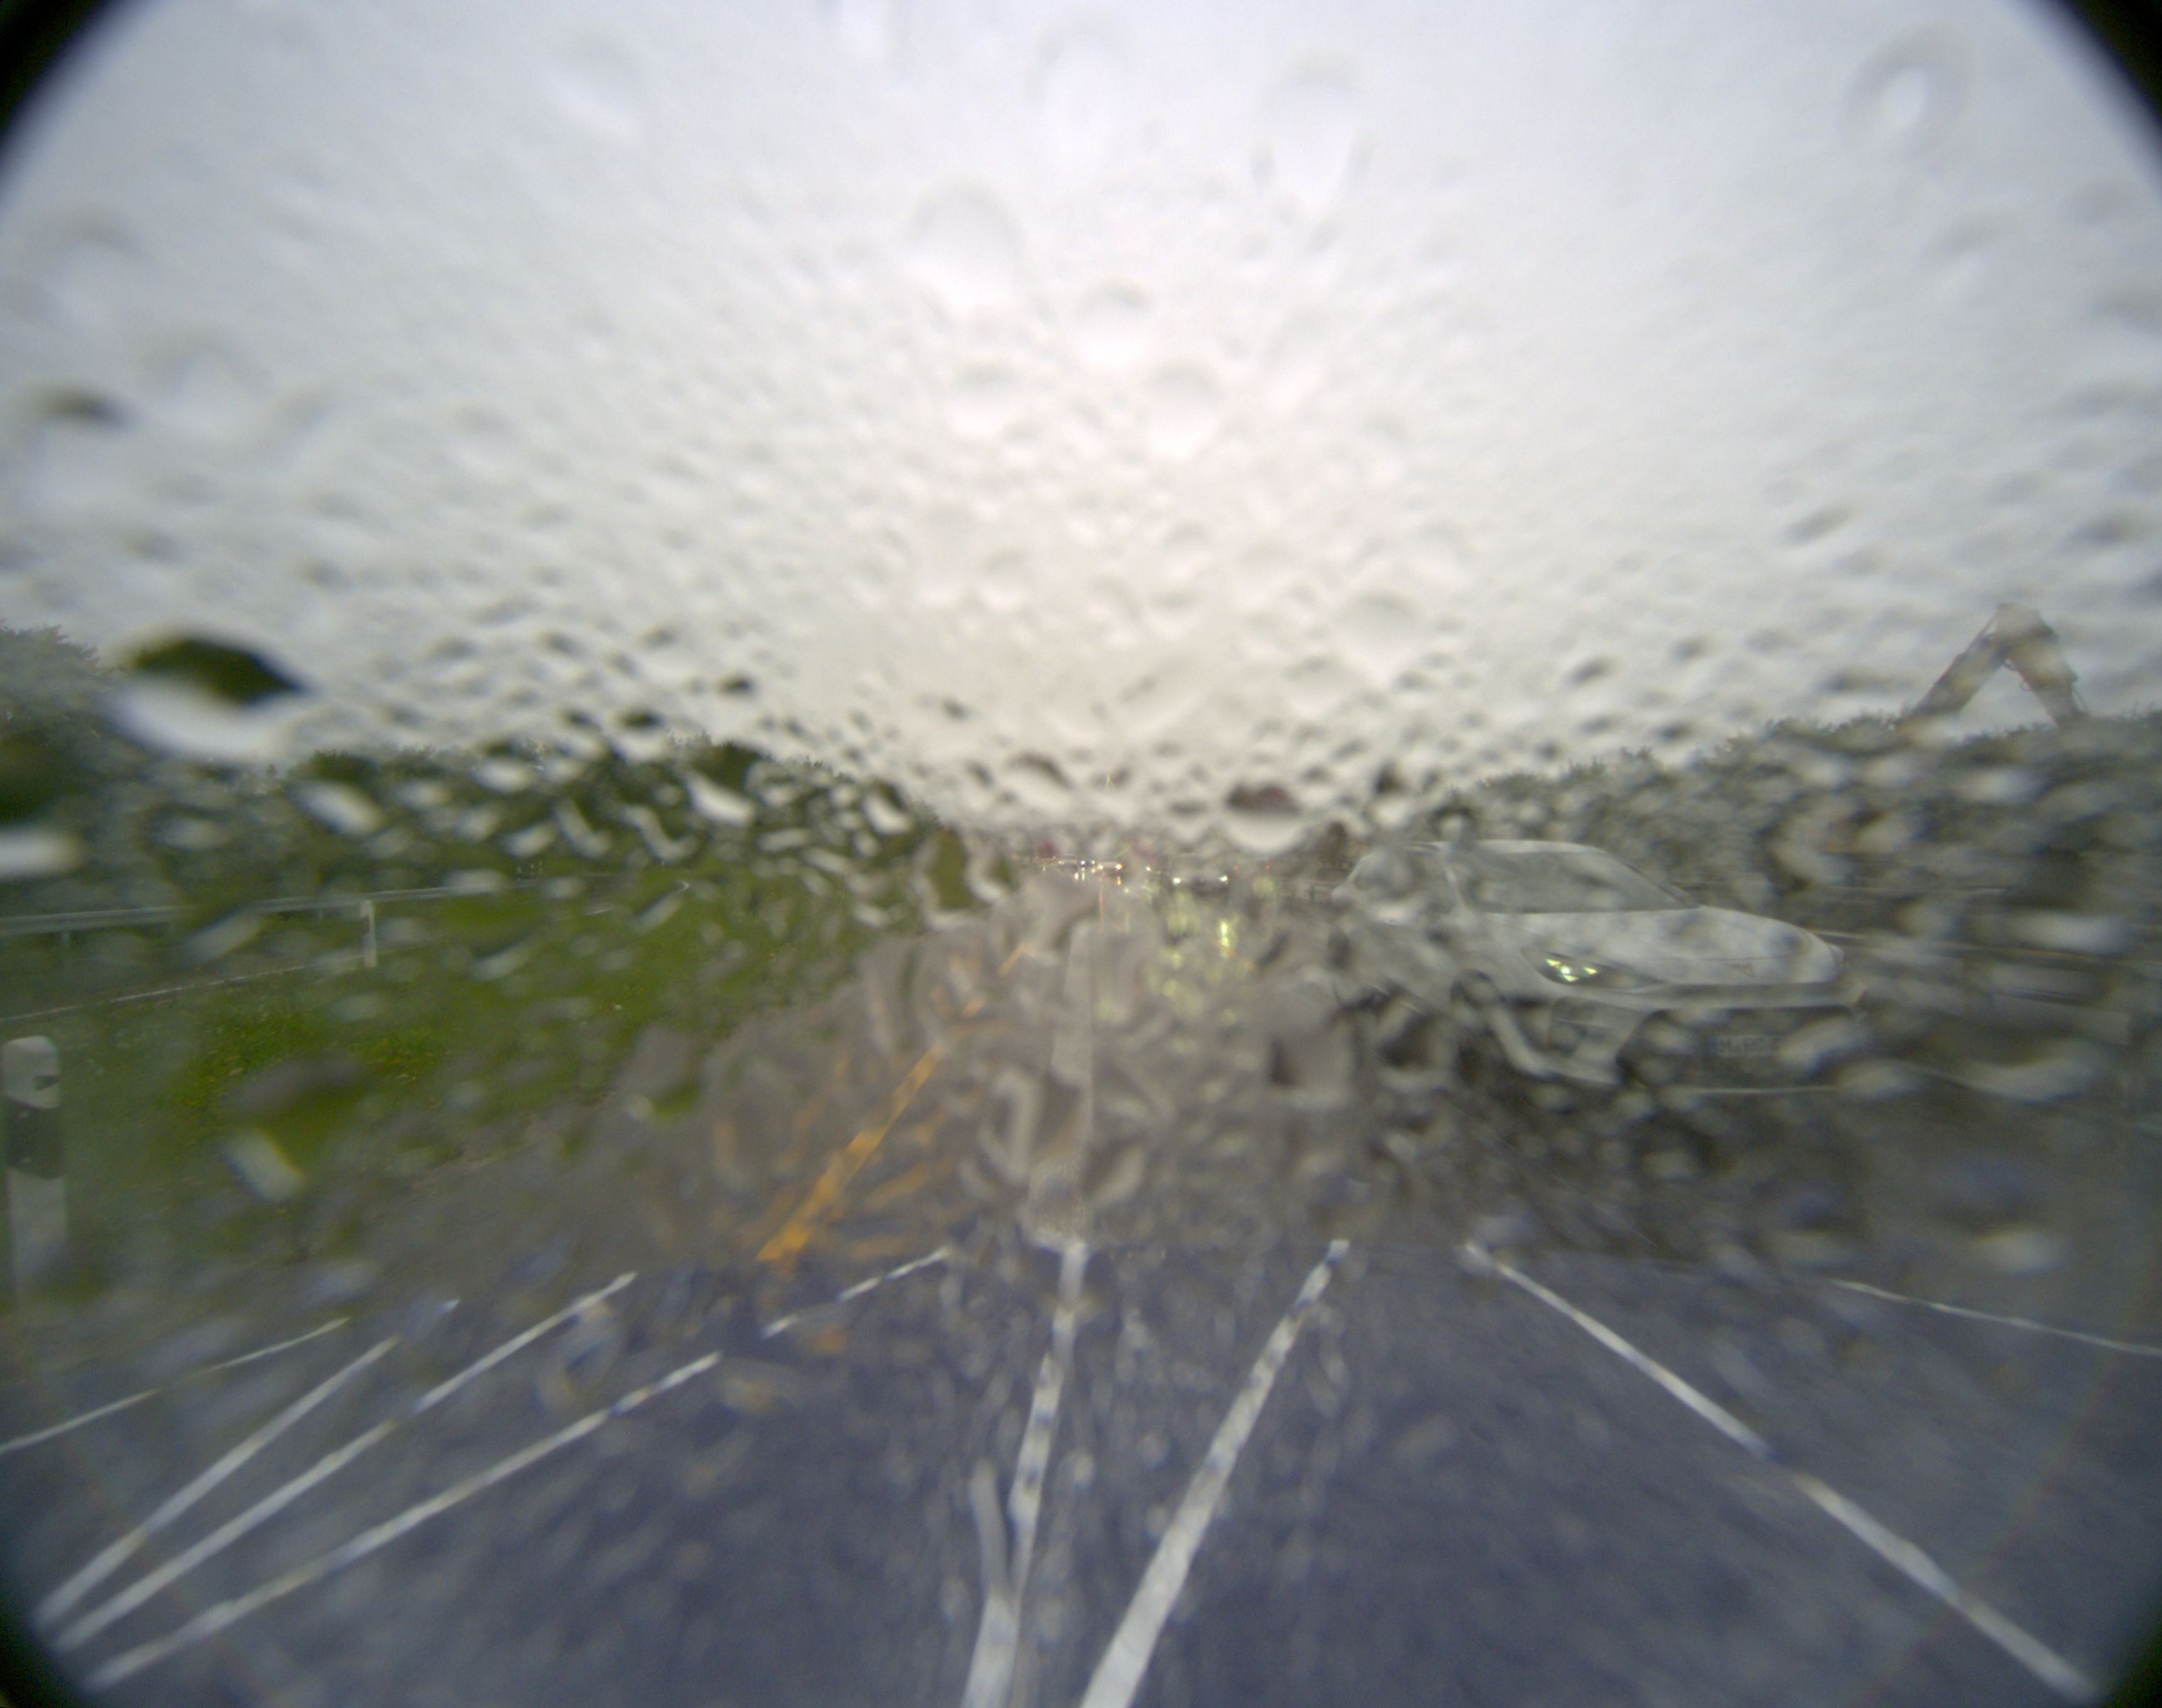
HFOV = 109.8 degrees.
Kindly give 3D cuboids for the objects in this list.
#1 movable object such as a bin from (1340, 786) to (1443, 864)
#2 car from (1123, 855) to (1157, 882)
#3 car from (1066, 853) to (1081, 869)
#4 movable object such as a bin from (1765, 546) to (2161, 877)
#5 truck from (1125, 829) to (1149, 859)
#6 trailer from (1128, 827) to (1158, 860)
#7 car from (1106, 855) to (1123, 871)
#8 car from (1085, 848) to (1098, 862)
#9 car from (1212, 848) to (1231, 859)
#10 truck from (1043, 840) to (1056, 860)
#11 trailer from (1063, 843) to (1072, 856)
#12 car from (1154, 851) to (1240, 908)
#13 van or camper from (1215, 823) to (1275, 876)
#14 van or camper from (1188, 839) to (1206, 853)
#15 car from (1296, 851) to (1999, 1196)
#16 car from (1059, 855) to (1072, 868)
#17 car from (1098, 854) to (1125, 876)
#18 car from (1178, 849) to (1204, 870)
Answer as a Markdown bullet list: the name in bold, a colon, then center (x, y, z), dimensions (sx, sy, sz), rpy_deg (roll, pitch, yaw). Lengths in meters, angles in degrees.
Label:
- **movable object such as a bin**: center (25.845, -2.305, 64.129), dimensions (4.181, 5.881, 11.044), rpy_deg (-3, 1, 1)
- **car**: center (3.662, 0.853, 47.679), dimensions (1.792, 1.480, 3.999), rpy_deg (-3, 1, 0)
- **car**: center (-0.912, 0.824, 87.975), dimensions (1.673, 1.804, 3.999), rpy_deg (-1, 1, -1)
- **movable object such as a bin**: center (26.393, -3.612, 23.120), dimensions (3.605, 8.097, 8.307), rpy_deg (-3, 1, 1)
- **truck**: center (8.218, -1.449, 112.131), dimensions (3.015, 4.247, 6.798), rpy_deg (-1, 1, -1)
- **trailer**: center (8.405, -1.387, 105.053), dimensions (2.984, 4.270, 11.057), rpy_deg (-1, 1, -1)
- **car**: center (3.418, 0.871, 77.891), dimensions (1.590, 1.528, 3.830), rpy_deg (-1, 1, -1)
- **car**: center (1.539, 0.171, 115.116), dimensions (1.767, 2.002, 3.999), rpy_deg (-3, 1, 0)
- **car**: center (26.052, -0.109, 140.870), dimensions (2.100, 1.955, 5.362), rpy_deg (-2, 0, -4)
- **truck**: center (-6.920, -0.902, 170.881), dimensions (2.506, 4.067, 15.197), rpy_deg (-3, 1, -1)
- **trailer**: center (-4.392, -1.392, 248.400), dimensions (2.915, 4.065, 12.218), rpy_deg (-1, 0, -2)
- **car**: center (3.669, 0.740, 25.043), dimensions (2.069, 1.618, 5.195), rpy_deg (-2, 0, 1)
- **van or camper**: center (10.305, -0.311, 48.372), dimensions (2.299, 3.024, 6.698), rpy_deg (-3, 1, 0)
- **van or camper**: center (35.678, -2.471, 233.440), dimensions (3.377, 4.299, 8.501), rpy_deg (-3, 1, -5)
- **car**: center (3.365, 0.791, 6.068), dimensions (1.932, 1.542, 5.006), rpy_deg (-2, 1, 1)
- **car**: center (-2.397, 1.137, 117.098), dimensions (1.674, 1.804, 3.998), rpy_deg (-1, 1, -4)
- **car**: center (2.560, 0.889, 63.977), dimensions (1.881, 1.772, 3.998), rpy_deg (-1, 1, -3)
- **car**: center (9.817, 0.454, 68.189), dimensions (1.640, 1.658, 4.543), rpy_deg (-3, 1, 0)
